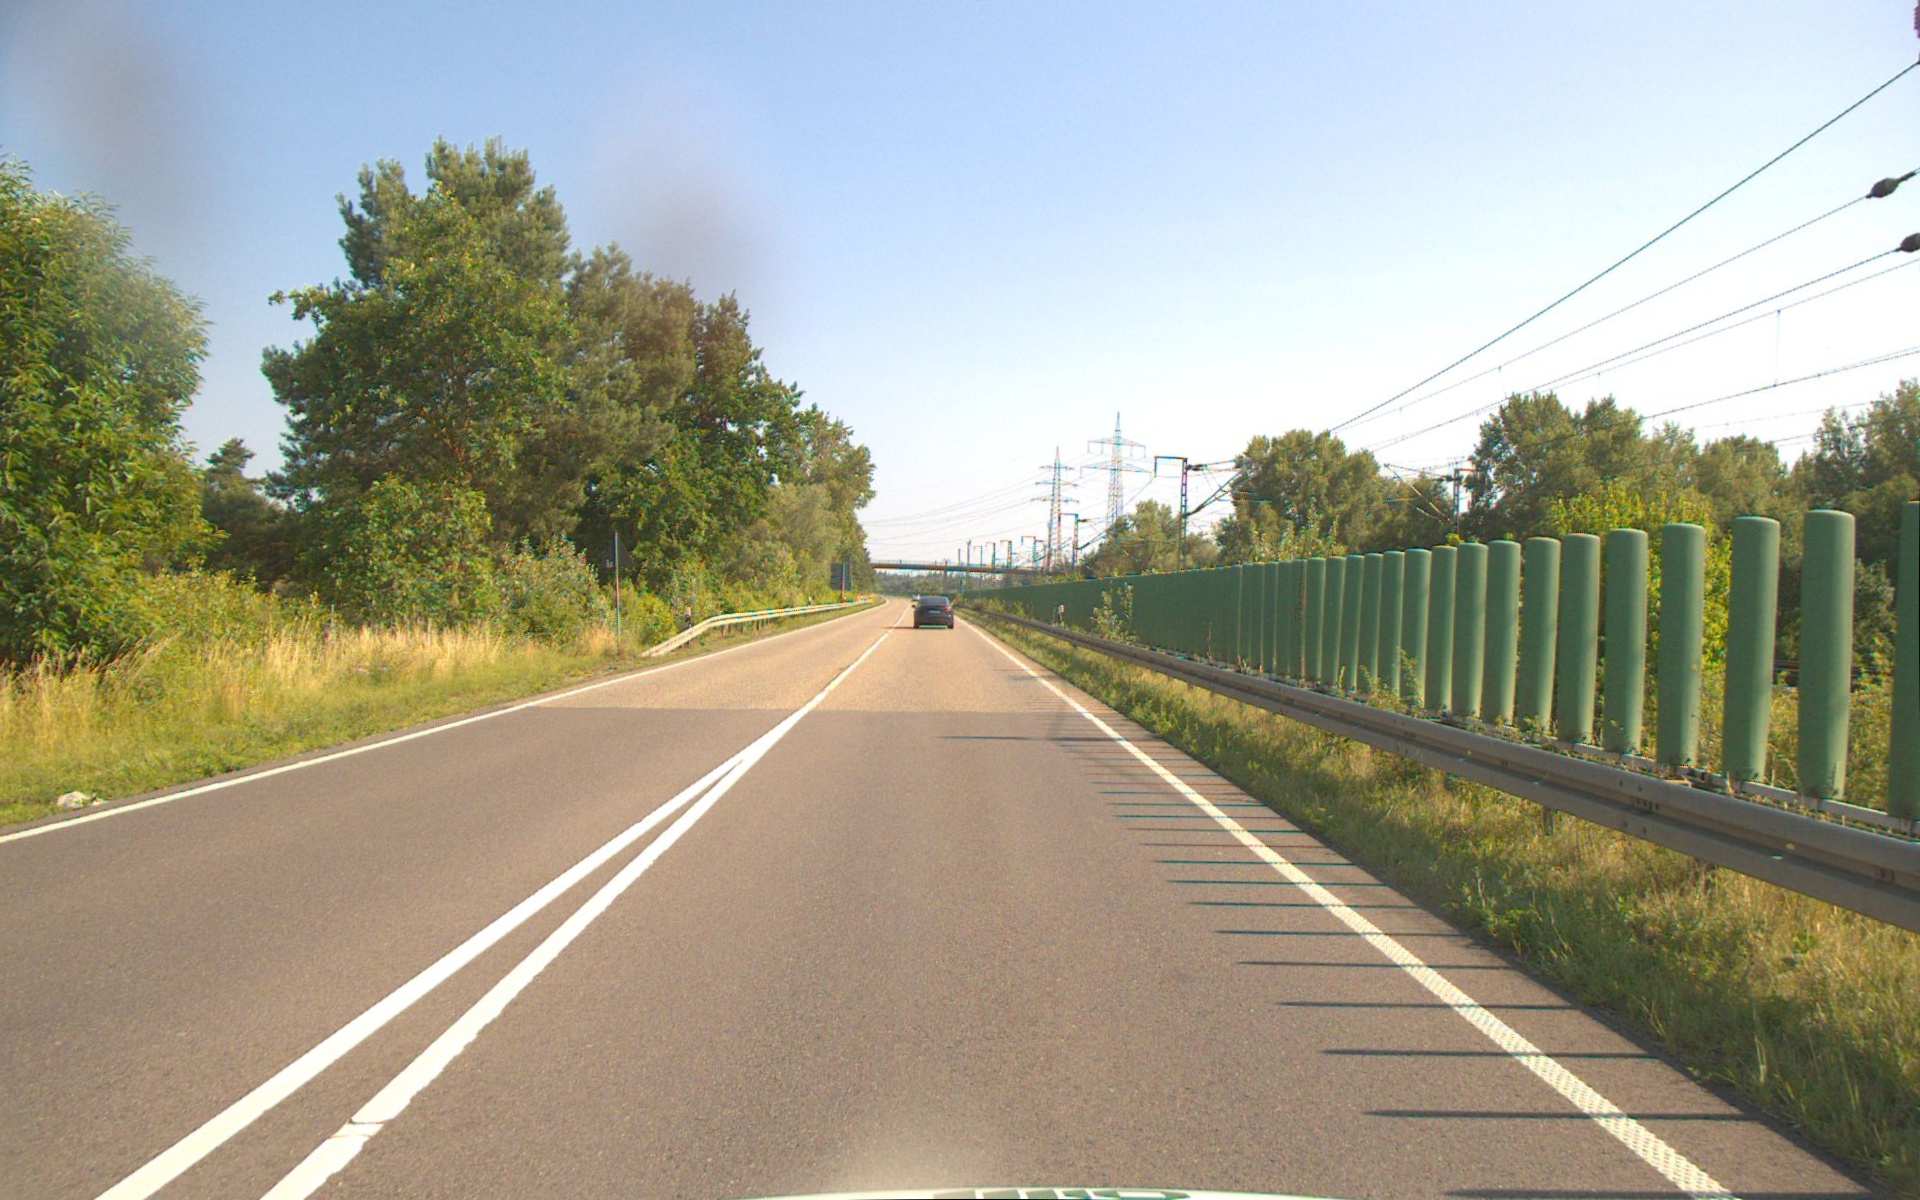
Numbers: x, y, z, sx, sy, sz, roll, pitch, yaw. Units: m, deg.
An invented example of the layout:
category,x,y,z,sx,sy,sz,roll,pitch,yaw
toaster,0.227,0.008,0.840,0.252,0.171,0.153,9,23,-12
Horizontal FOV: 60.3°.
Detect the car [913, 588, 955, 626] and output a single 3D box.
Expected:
category,x,y,z,sx,sy,sz,roll,pitch,yaw
car,-1.193,0.303,75.145,1.821,1.670,3.998,0,0,-2
